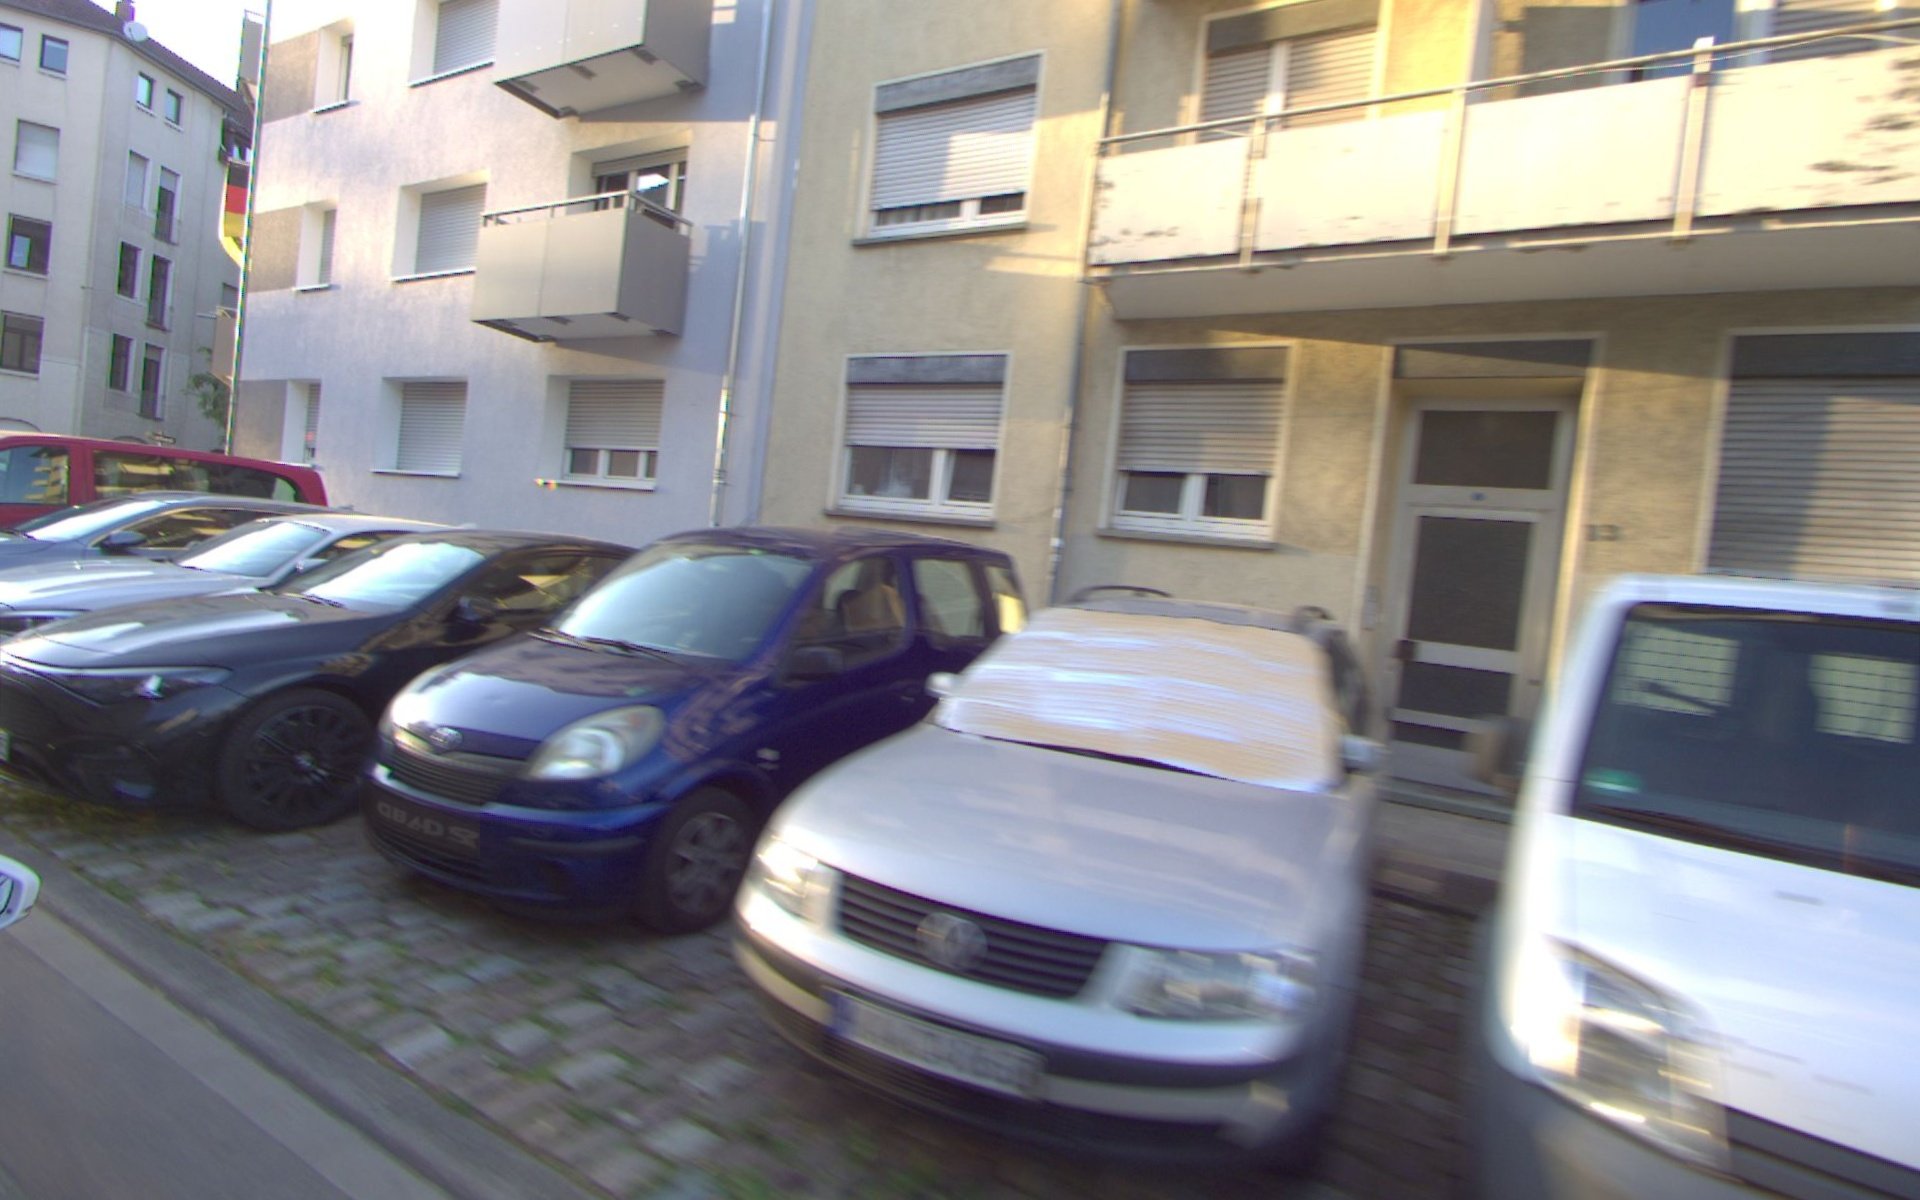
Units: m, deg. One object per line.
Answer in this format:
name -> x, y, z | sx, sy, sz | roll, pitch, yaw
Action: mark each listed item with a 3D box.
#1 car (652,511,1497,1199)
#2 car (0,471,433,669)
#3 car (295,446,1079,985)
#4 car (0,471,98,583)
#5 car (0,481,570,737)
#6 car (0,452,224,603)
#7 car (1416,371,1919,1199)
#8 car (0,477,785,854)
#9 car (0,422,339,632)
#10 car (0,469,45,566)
car -> 0.965, 0.721, 3.992 | 1.677, 1.541, 3.958 | 8, 1, 31
car -> -7.249, -0.267, 9.055 | 1.609, 1.490, 4.147 | 7, 2, 30
car -> -0.988, 0.379, 5.290 | 1.627, 1.718, 3.792 | 7, 2, 31
car -> -13.891, -1.101, 13.020 | 1.607, 1.447, 3.813 | 7, 2, 30
car -> -5.169, 0.034, 7.673 | 1.608, 1.435, 3.877 | 7, 2, 29
car -> -11.682, -0.945, 11.960 | 1.787, 1.659, 4.326 | 7, 2, 30
car -> 2.699, 0.764, 3.163 | 1.712, 1.884, 4.284 | 7, 0, 31
car -> -3.196, 0.260, 6.222 | 1.627, 1.469, 4.310 | 7, 2, 31
car -> -9.428, -0.759, 10.336 | 2.024, 1.935, 4.724 | 7, 2, 30
car -> -16.026, -1.393, 14.530 | 1.607, 1.447, 3.813 | 7, 2, 30
